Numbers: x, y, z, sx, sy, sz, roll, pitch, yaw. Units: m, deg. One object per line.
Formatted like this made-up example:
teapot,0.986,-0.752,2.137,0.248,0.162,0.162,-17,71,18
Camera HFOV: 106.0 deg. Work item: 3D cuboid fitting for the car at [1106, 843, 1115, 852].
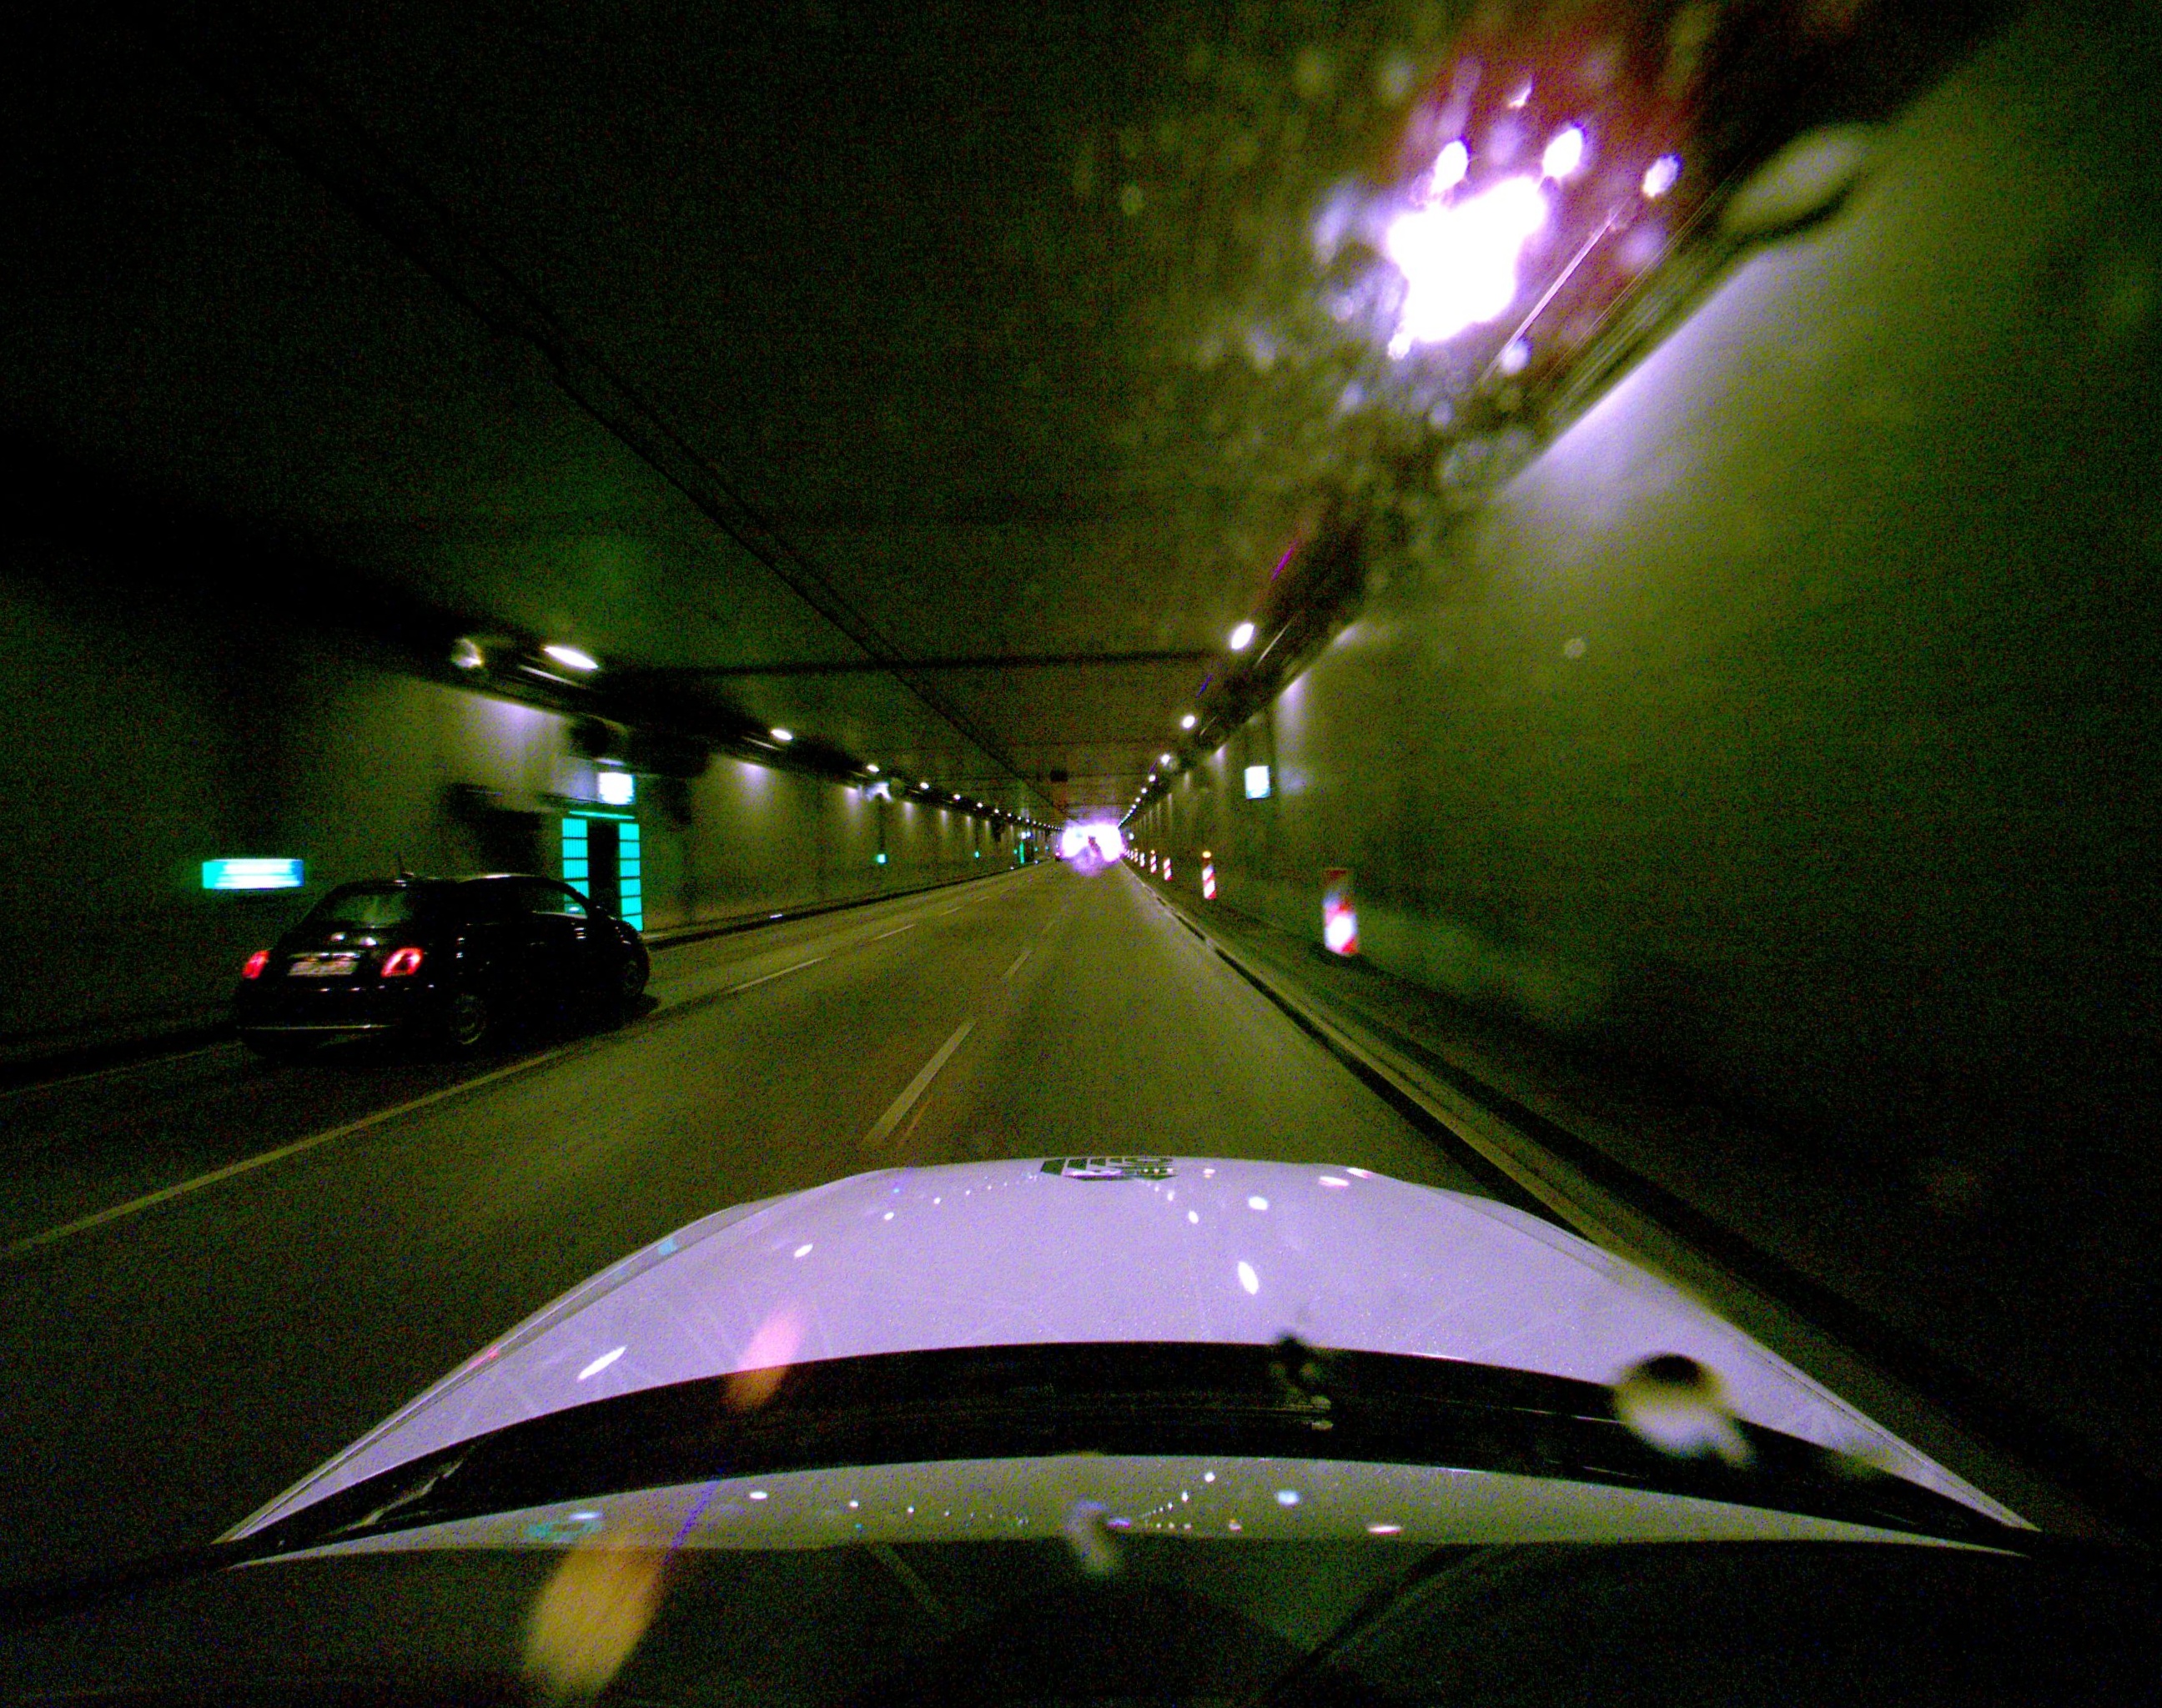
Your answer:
car,6.701,-1.401,185.439,1.986,2.013,4.002,-1,0,2

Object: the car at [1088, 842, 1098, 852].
car,2.460,-1.538,169.304,1.986,2.013,4.002,-1,0,2

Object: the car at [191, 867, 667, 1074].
car,-5.741,0.891,7.815,1.606,1.454,3.574,-1,0,1

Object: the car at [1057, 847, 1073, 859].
car,-2.089,-0.170,104.006,1.988,1.448,4.311,0,0,-2
